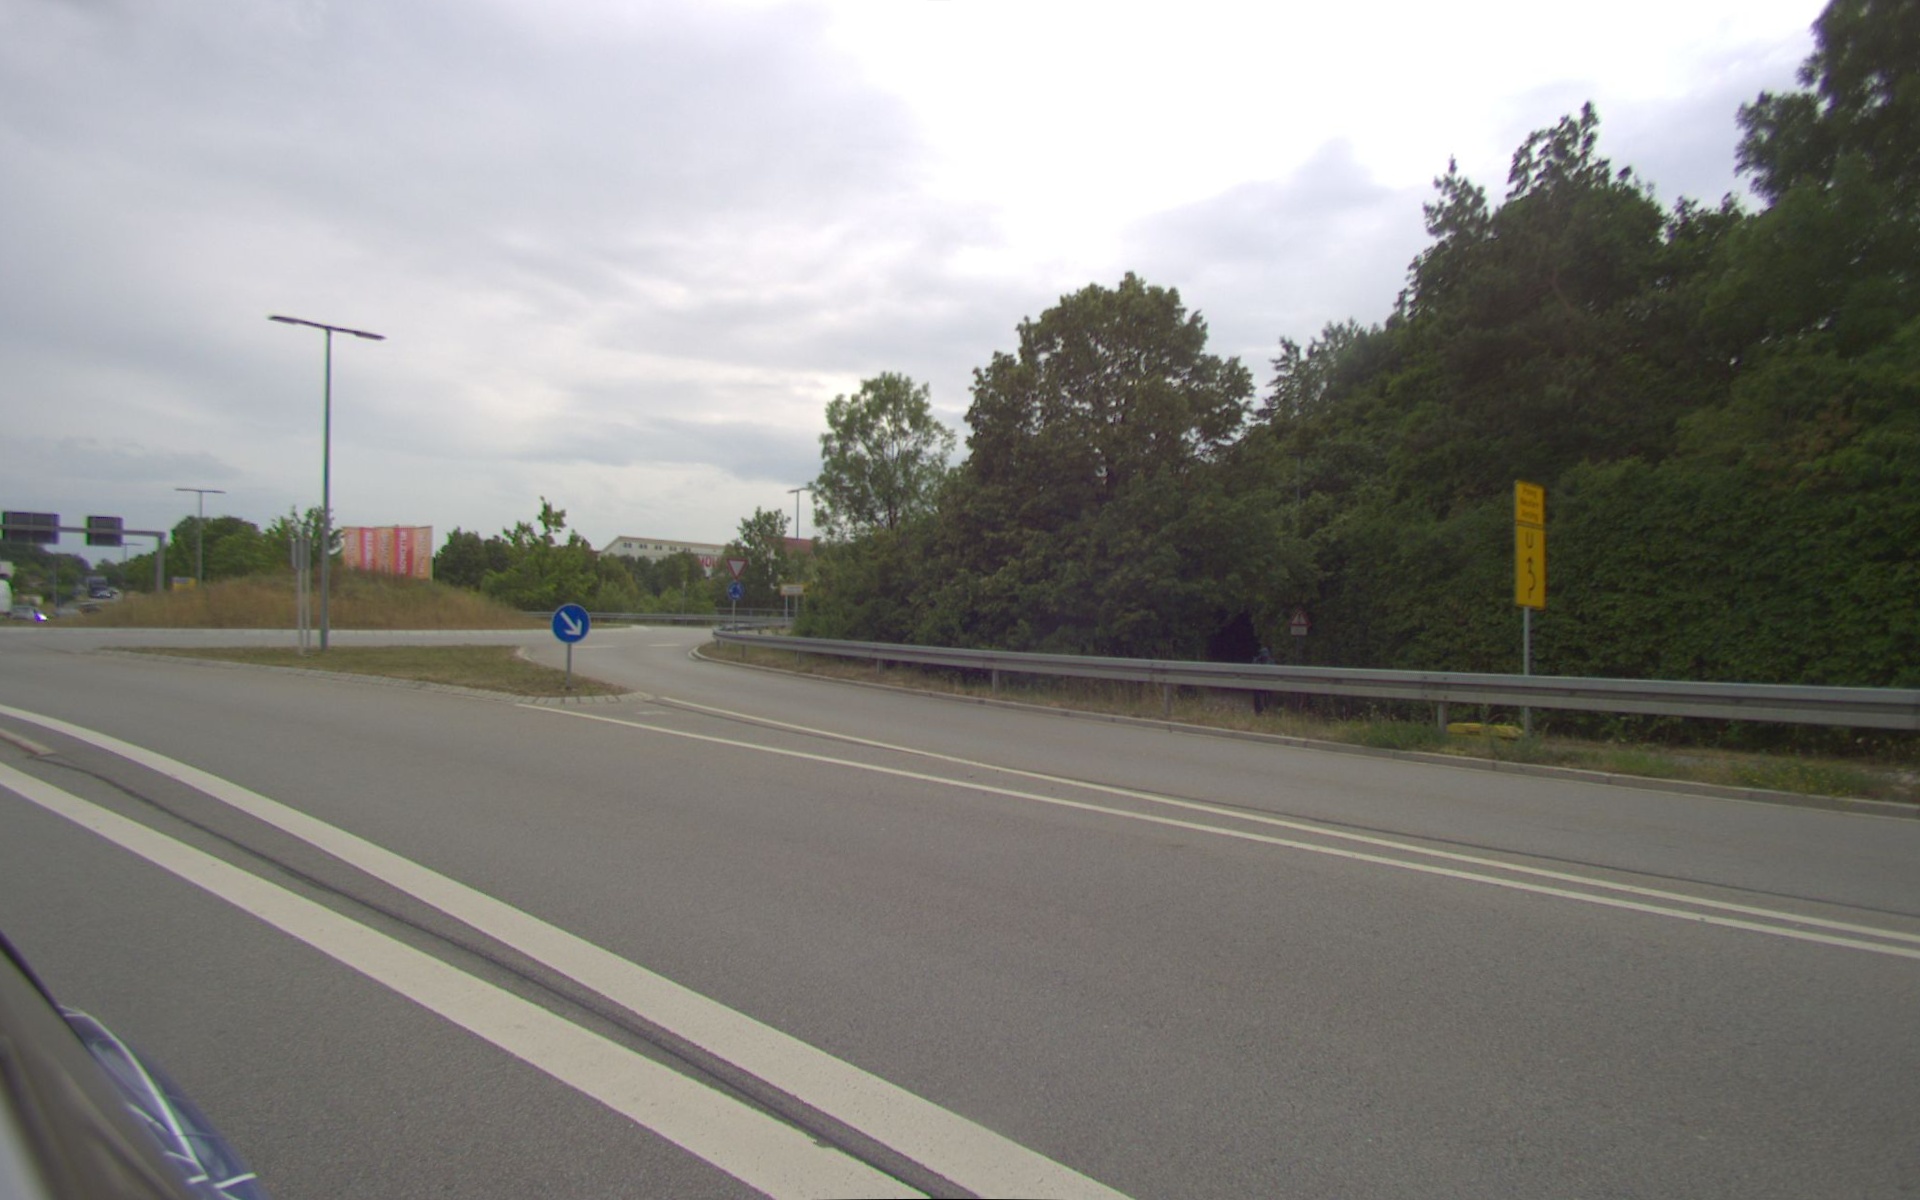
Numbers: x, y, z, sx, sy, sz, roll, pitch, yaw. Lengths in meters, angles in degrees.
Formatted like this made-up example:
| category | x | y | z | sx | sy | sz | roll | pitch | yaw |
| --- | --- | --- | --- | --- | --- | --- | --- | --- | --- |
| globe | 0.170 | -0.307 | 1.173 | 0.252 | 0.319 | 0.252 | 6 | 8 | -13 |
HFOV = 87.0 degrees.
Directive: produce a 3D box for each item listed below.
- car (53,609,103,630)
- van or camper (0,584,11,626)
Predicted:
| category | x | y | z | sx | sy | sz | roll | pitch | yaw |
| --- | --- | --- | --- | --- | --- | --- | --- | --- | --- |
| car | -86.768 | 1.939 | 99.597 | 5.029 | 1.804 | 2.085 | 3 | 0 | 29 |
| van or camper | -55.612 | 0.307 | 57.096 | 2.019 | 2.382 | 5.557 | -1 | 1 | -33 |
